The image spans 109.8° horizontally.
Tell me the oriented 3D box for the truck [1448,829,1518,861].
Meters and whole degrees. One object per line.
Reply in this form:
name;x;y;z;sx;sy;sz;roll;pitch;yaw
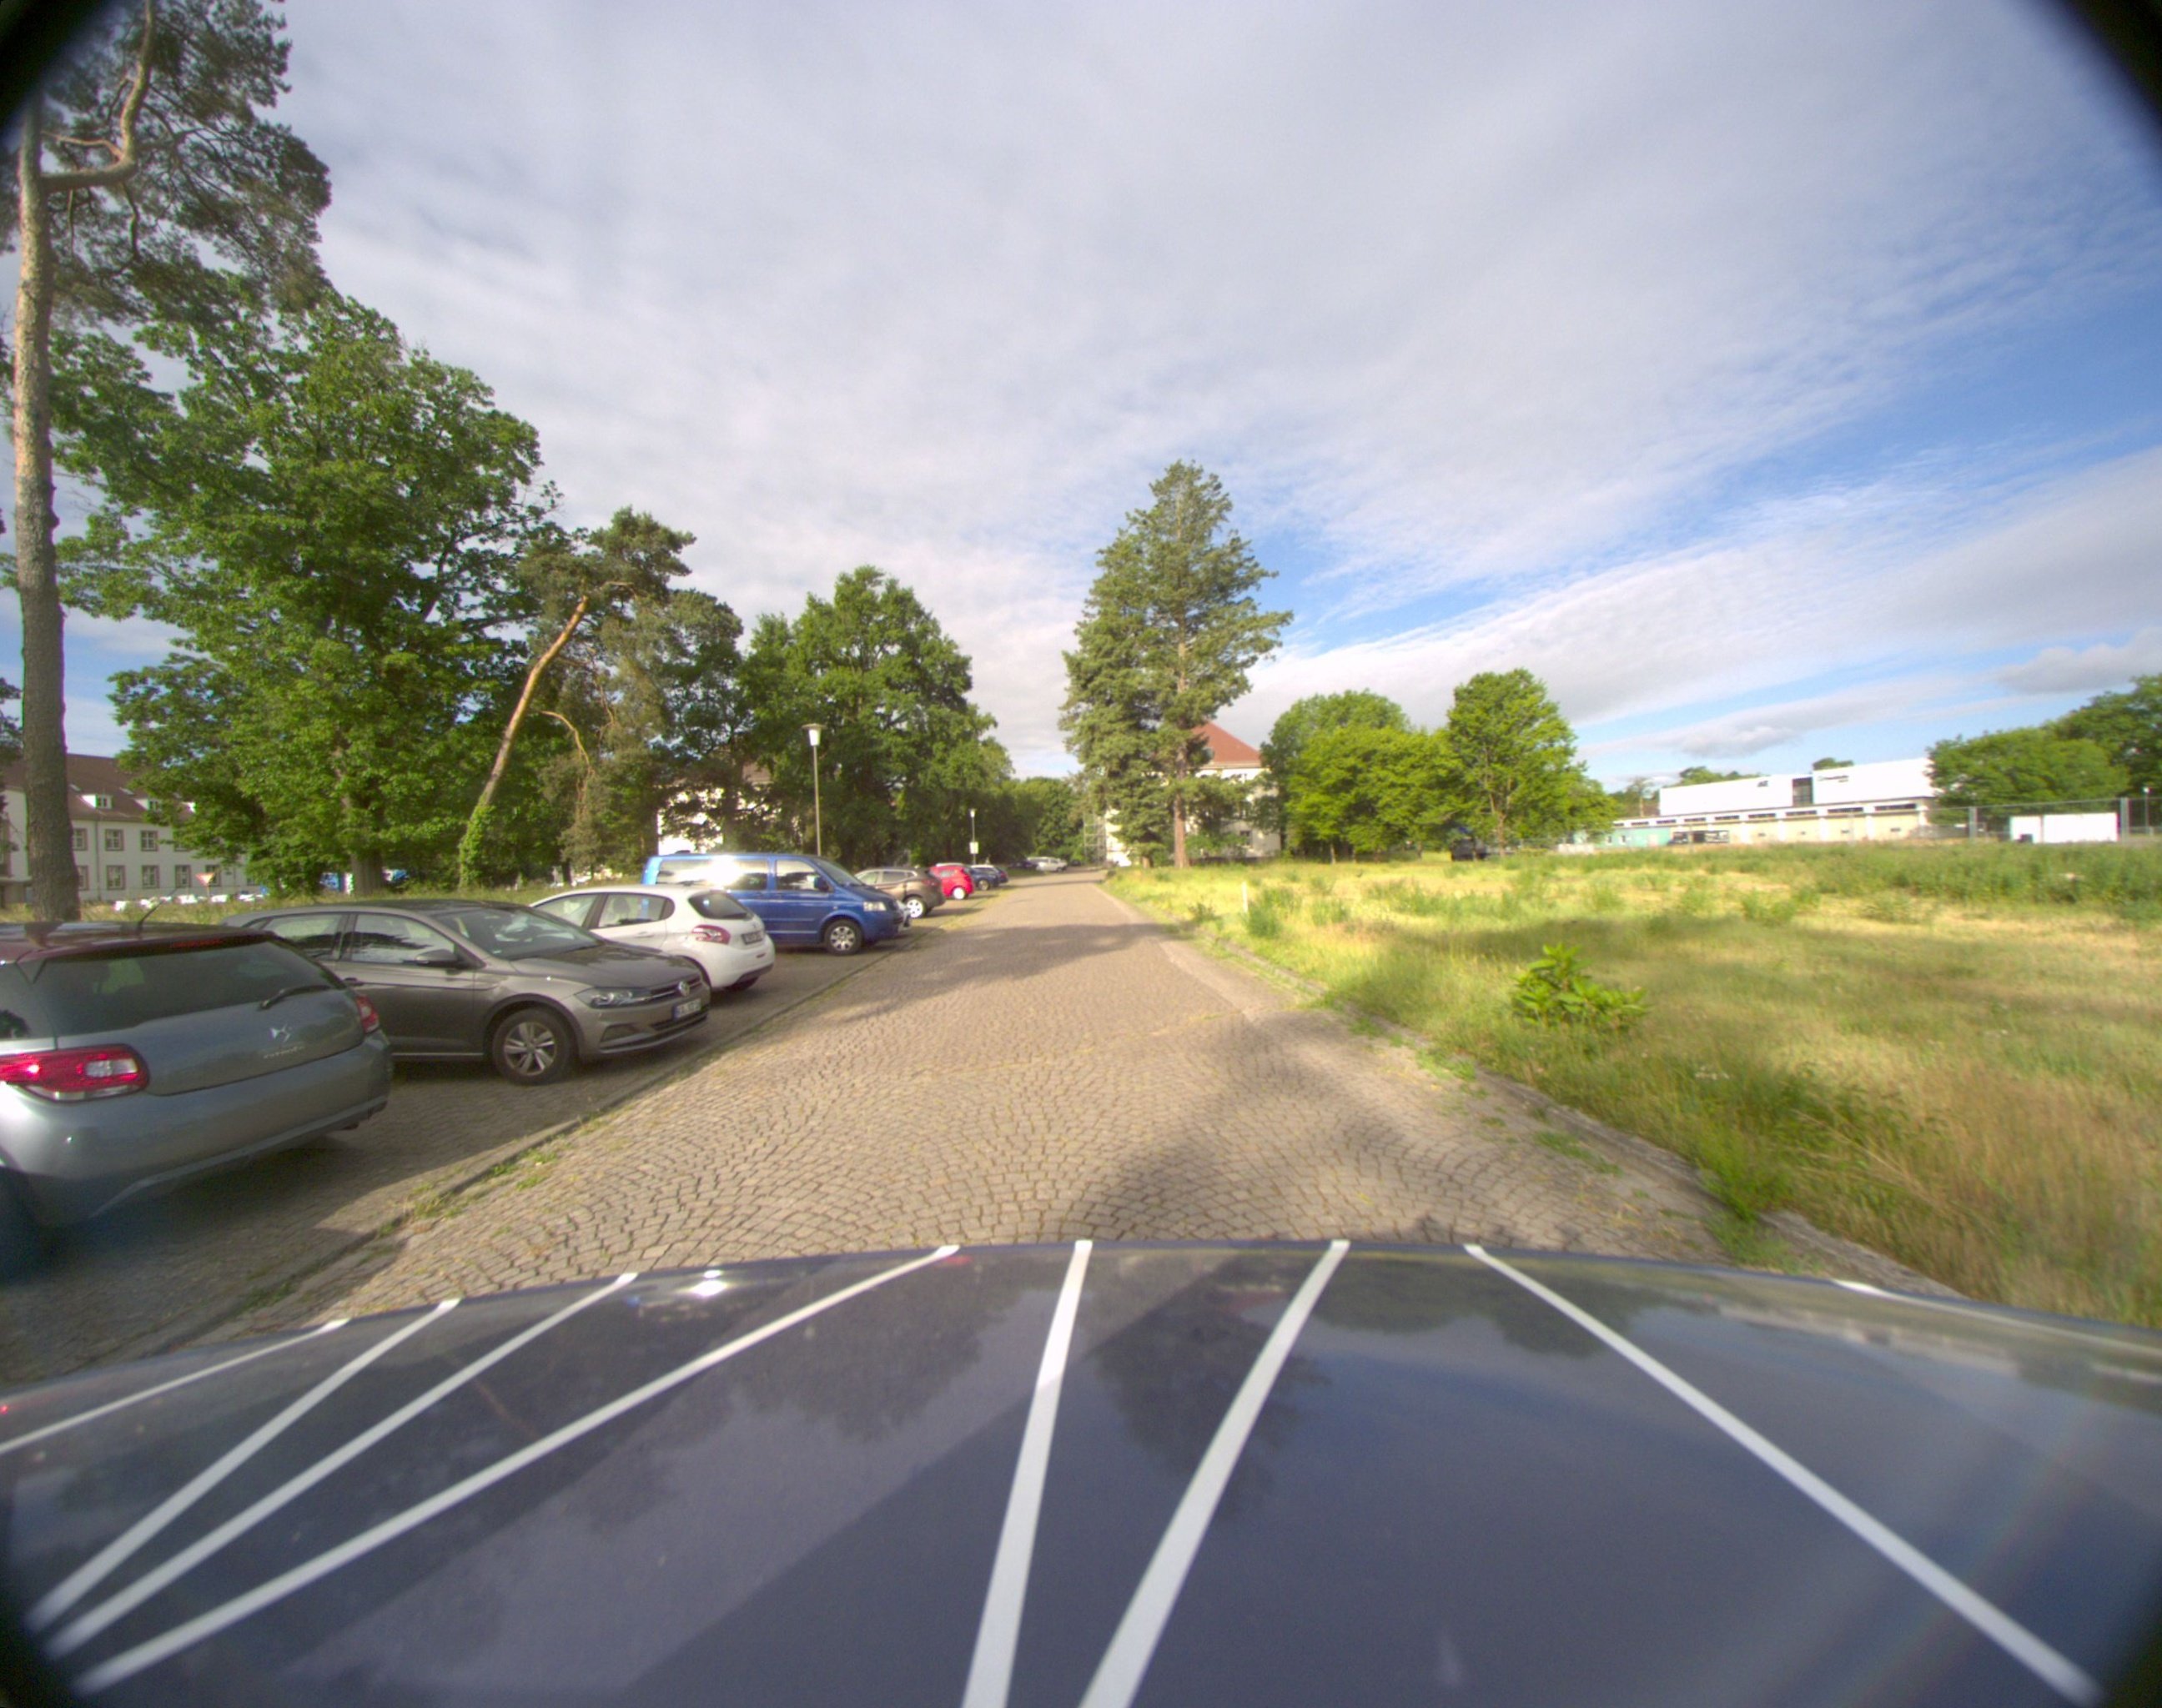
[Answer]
truck;34.893;-0.738;66.280;2.417;2.571;6.959;-2;0;1

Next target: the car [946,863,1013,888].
car;-6.516;1.378;48.984;4.036;1.442;1.783;-2;1;0

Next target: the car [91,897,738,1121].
car;-5.443;1.222;6.679;3.961;1.459;1.830;-2;1;-1

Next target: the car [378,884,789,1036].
car;-5.972;1.238;9.522;3.885;1.521;1.807;-2;1;-1

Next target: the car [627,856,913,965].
car;-5.878;1.026;14.876;4.746;1.917;1.991;0;1;-2

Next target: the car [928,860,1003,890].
car;-6.686;1.231;44.279;4.136;1.560;1.746;-2;1;-2

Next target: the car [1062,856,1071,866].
car;-3.194;1.531;164.164;1.875;1.888;3.999;-2;1;-2

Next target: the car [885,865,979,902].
car;-6.610;1.298;33.993;3.887;1.464;1.686;-1;1;-3

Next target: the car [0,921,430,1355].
car;-5.999;1.220;3.739;3.961;1.486;1.771;-2;1;-1

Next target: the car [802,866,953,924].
car;-6.253;1.238;23.738;4.202;1.580;1.877;-2;1;-3

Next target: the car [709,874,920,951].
car;-5.949;1.288;17.390;4.203;1.461;1.806;-2;1;-5

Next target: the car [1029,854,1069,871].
car;-4.141;1.110;98.019;5.079;2.029;2.000;-2;0;-2

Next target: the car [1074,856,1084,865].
car;-0.472;1.476;164.464;1.999;1.762;4.108;-2;1;-2
